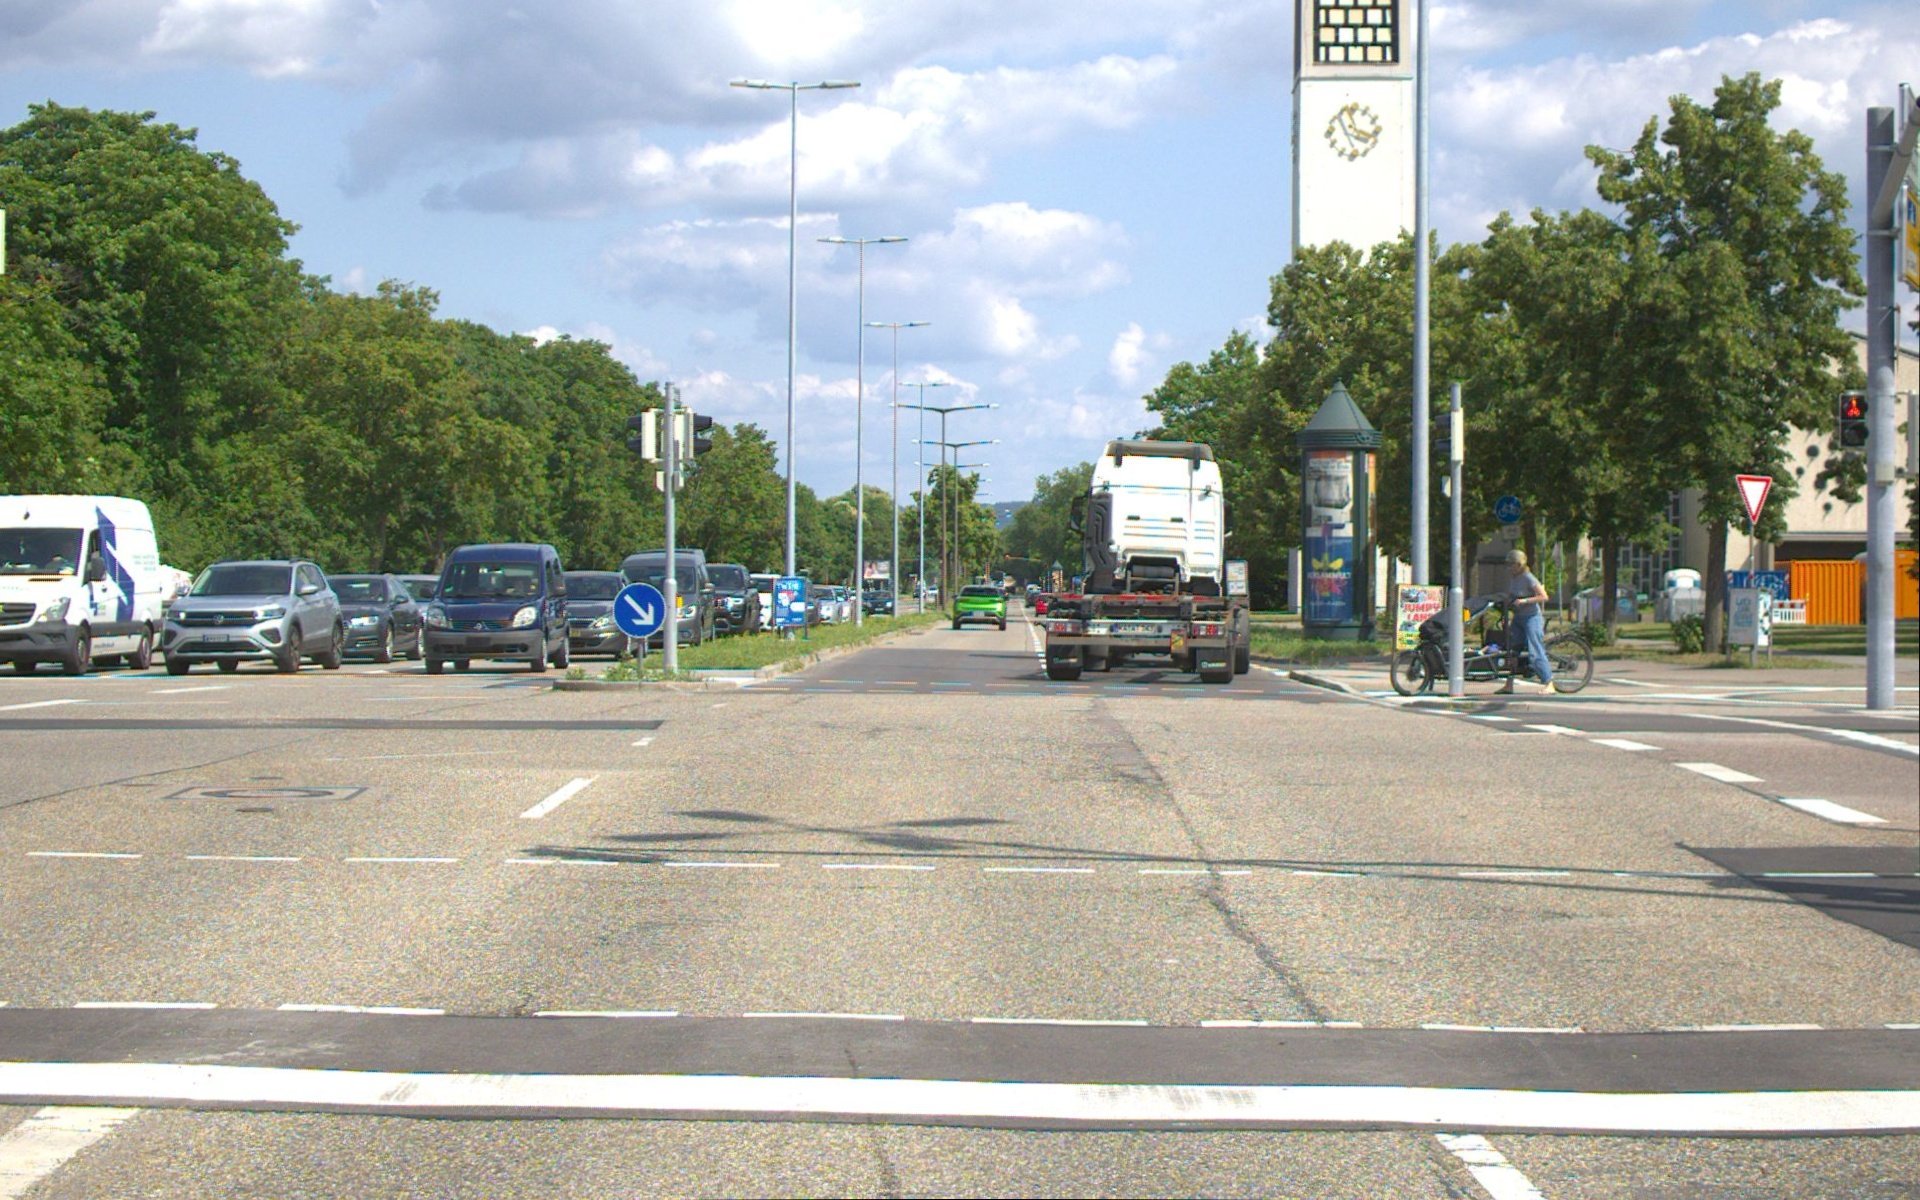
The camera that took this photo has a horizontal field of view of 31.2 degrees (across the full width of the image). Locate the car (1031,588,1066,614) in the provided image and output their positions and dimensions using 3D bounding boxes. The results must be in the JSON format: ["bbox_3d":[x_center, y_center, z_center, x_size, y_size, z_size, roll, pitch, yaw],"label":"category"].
[{"bbox_3d":[5.591,0.043,216.861,1.993,1.547,4.000,2,0,0],"label":"car"}]

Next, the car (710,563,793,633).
[{"bbox_3d":[-5.256,-0.059,87.063,1.734,1.654,4.231,2,0,1],"label":"car"}]

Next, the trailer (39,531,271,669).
[{"bbox_3d":[-12.762,-0.001,54.865,2.124,2.007,5.161,2,0,4],"label":"trailer"}]

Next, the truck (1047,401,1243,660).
[{"bbox_3d":[3.149,-1.052,57.482,2.960,3.957,8.636,1,0,4],"label":"truck"}]

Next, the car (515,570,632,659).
[{"bbox_3d":[-6.152,0.222,54.944,1.568,1.311,3.432,2,0,-2],"label":"car"}]

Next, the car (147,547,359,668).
[{"bbox_3d":[-9.749,0.098,47.728,1.735,1.538,4.308,2,0,4],"label":"car"}]

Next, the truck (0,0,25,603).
[{"bbox_3d":[-3.771,-0.441,3.255,3.070,3.402,11.069,2,0,-2],"label":"truck"}]

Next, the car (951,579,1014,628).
[{"bbox_3d":[0.743,0.101,116.195,1.993,1.547,4.000,2,0,0],"label":"car"}]

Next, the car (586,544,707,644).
[{"bbox_3d":[-5.653,-0.142,62.372,1.734,1.654,4.231,2,1,0],"label":"car"}]

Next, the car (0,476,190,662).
[{"bbox_3d":[-13.014,-0.444,49.262,2.174,2.463,5.966,2,0,4],"label":"car"}]

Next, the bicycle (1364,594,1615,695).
[{"bbox_3d":[6.075,0.508,39.384,2.832,1.108,0.797,0,1,-24],"label":"bicycle"}]

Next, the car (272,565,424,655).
[{"bbox_3d":[-9.559,0.151,53.888,1.763,1.347,3.519,1,0,0],"label":"car"}]

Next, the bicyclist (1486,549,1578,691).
[{"bbox_3d":[6.590,0.223,39.598,0.698,1.610,0.797,1,1,-24],"label":"bicyclist"}]

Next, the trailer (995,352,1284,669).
[{"bbox_3d":[2.668,-1.122,49.658,3.621,3.998,11.317,1,0,4],"label":"trailer"}]

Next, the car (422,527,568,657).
[{"bbox_3d":[-6.385,-0.118,47.506,1.734,1.654,4.232,2,0,-5],"label":"car"}]
